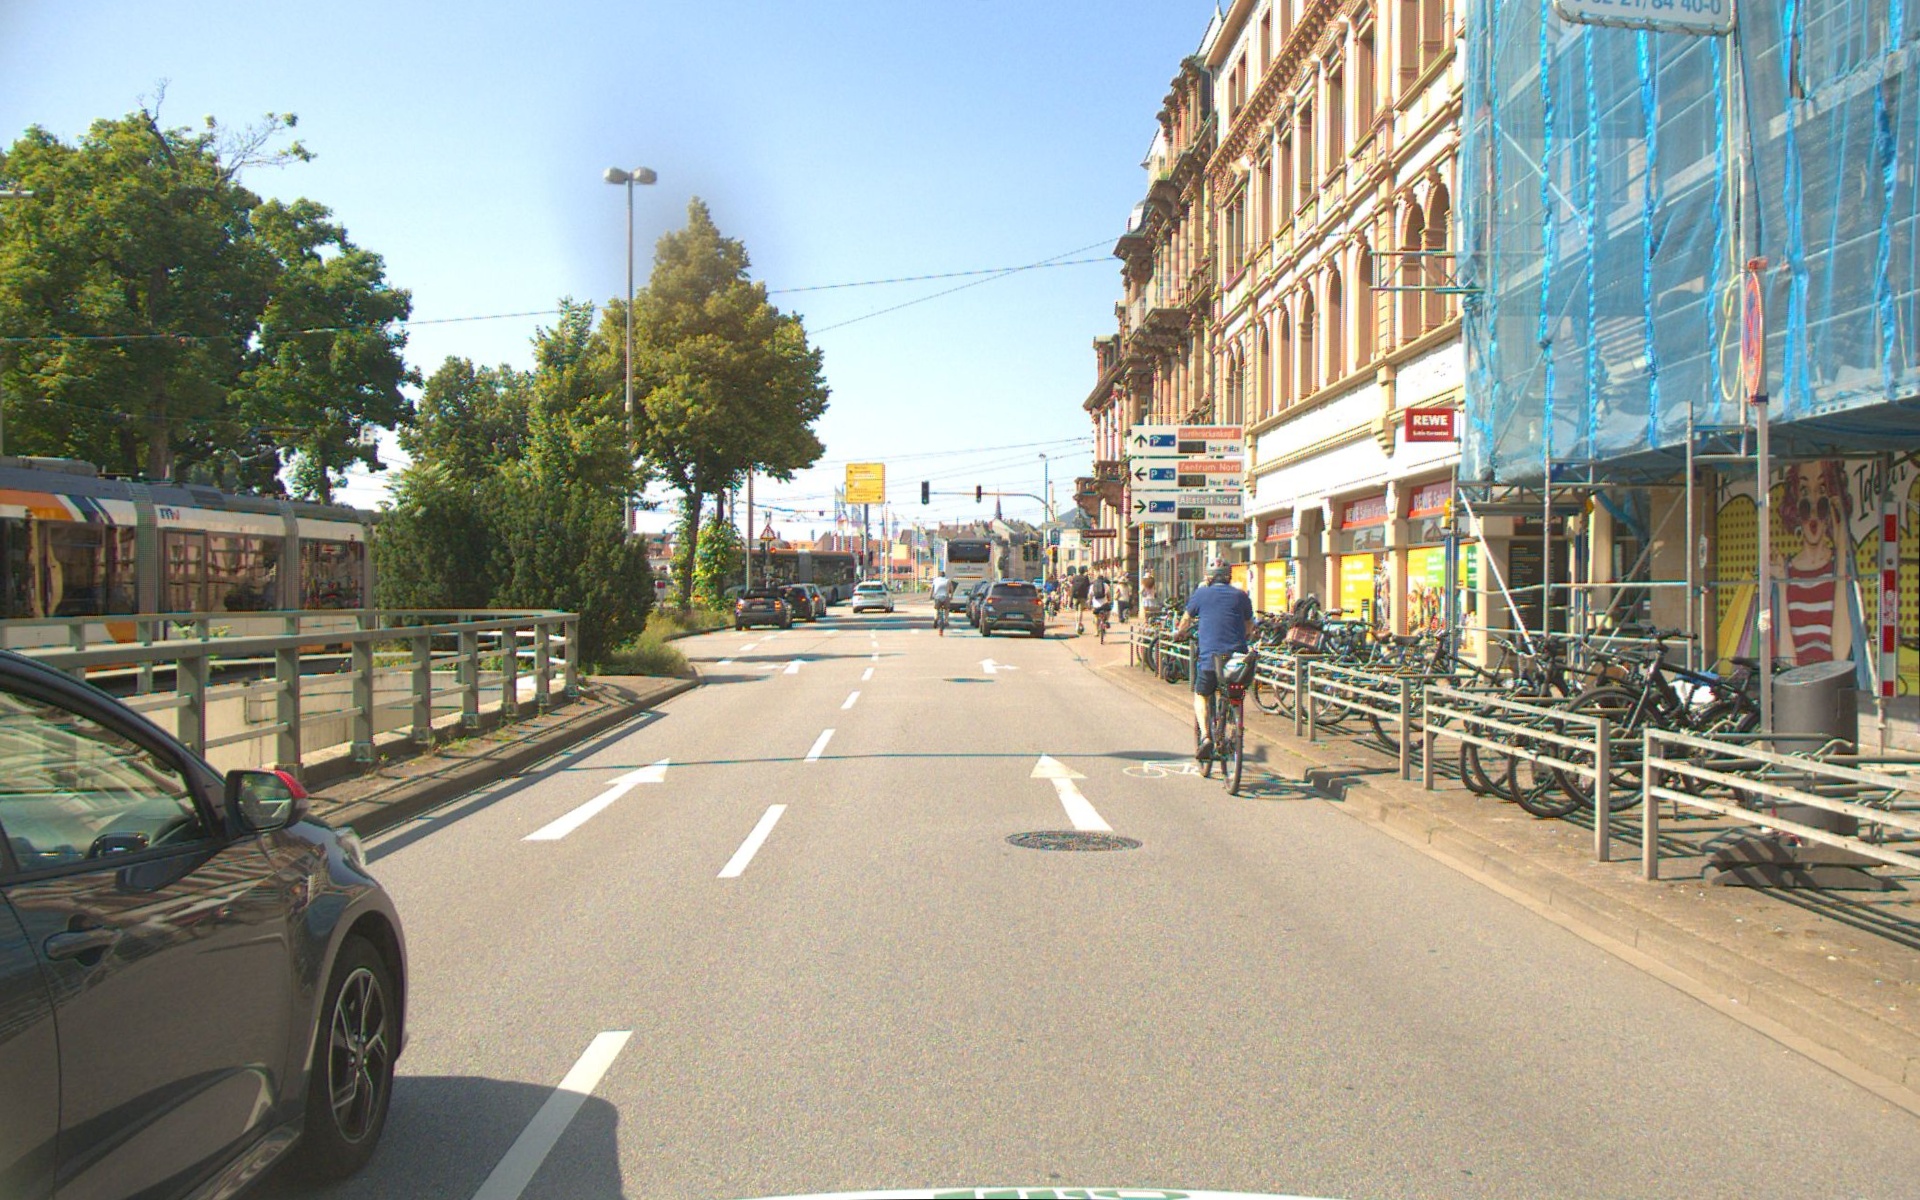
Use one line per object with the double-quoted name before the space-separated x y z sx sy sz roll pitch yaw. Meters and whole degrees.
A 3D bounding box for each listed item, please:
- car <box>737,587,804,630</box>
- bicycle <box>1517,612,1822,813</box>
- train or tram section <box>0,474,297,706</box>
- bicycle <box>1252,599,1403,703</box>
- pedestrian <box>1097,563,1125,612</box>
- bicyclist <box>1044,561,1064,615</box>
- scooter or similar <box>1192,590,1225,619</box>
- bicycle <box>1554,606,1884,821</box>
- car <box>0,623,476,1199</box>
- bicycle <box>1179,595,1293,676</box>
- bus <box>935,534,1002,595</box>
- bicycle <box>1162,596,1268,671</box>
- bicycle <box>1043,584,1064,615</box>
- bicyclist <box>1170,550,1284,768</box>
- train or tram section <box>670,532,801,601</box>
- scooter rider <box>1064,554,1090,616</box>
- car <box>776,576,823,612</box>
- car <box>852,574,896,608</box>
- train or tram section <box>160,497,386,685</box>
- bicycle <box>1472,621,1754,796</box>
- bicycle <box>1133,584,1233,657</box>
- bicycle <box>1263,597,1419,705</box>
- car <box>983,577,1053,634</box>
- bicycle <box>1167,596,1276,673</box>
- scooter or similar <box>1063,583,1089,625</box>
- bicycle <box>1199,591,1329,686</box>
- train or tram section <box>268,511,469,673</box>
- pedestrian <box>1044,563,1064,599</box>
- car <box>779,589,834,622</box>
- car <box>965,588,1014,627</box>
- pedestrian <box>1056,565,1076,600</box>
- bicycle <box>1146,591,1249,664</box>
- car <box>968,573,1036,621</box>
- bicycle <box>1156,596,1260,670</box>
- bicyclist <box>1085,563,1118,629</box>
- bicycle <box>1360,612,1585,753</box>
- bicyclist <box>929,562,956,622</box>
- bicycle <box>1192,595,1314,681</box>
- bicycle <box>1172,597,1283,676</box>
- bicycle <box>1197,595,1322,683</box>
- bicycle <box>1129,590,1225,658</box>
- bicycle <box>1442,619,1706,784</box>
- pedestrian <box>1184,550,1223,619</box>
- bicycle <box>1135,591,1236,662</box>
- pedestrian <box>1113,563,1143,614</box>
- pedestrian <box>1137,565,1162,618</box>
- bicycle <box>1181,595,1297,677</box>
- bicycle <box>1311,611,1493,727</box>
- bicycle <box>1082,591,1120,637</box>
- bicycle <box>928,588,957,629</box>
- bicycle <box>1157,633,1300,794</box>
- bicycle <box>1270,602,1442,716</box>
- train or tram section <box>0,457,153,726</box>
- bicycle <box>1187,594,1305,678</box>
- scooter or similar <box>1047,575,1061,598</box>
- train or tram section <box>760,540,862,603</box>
"car" -6.416 0.267 56.294 1.778 1.355 4.000 2 0 0
"bicycle" 4.460 0.694 10.463 1.659 1.199 0.608 1 0 -1
"train or tram section" -14.406 -0.167 29.667 2.560 3.643 6.102 2 0 -1
"bicycle" 4.392 0.603 19.828 1.659 1.199 0.608 1 0 -1
"pedestrian" 5.236 -0.422 57.452 0.845 1.668 0.875 -1 1 -2
"bicyclist" 3.521 -0.452 62.244 0.674 1.996 0.778 2 0 1
"scooter or similar" 6.180 0.112 41.188 0.677 0.661 0.565 -4 0 -2
"bicycle" 4.459 0.654 9.780 1.659 1.199 0.608 1 0 -1
"car" -2.317 0.840 3.077 1.741 1.501 3.998 -1 0 -2
"bicycle" 4.246 0.542 25.513 1.659 1.199 0.457 1 0 -1
"bus" 0.348 -1.717 83.199 2.909 2.825 8.637 2 0 -2
"bicycle" 4.180 0.541 27.171 1.659 1.199 0.460 1 0 -1
"bicycle" 3.505 -0.024 62.369 0.719 1.112 1.898 2 0 2
"bicyclist" 2.095 0.451 13.068 0.674 1.644 0.918 2 0 -2
"train or tram section" -12.858 -1.849 95.927 2.765 3.643 10.029 2 0 23
"scooter rider" 3.398 -0.436 48.127 0.674 1.759 0.778 2 0 1
"car" -6.306 -0.227 65.430 1.422 1.323 4.000 2 0 0
"car" -4.083 -0.439 79.001 1.820 1.533 4.000 2 0 0
"train or tram section" -14.500 -0.178 35.376 2.560 3.643 5.356 2 0 -1
"bicycle" 4.408 0.721 11.226 1.659 1.116 0.608 1 0 -1
"bicycle" 3.958 0.359 29.451 1.659 1.199 0.608 -2 1 -1
"bicycle" 4.394 0.579 19.132 1.659 1.199 0.608 1 0 -1
"car" 1.629 0.126 47.497 1.835 1.518 4.000 2 1 0
"bicycle" 4.201 0.550 26.620 1.659 1.199 0.459 1 0 -1
"scooter or similar" 3.365 0.117 48.088 0.674 1.188 1.464 2 0 1
"bicycle" 4.175 0.519 22.768 1.659 1.262 0.608 1 0 -1
"train or tram section" -14.614 -0.190 41.487 2.560 3.643 6.896 2 0 -1
"pedestrian" 4.488 -0.893 79.040 0.845 1.669 0.875 2 0 -2
"car" -6.730 0.220 72.698 1.995 1.355 4.000 2 0 0
"car" 1.224 0.314 69.265 1.953 1.519 4.000 2 0 0
"pedestrian" 5.184 -0.844 80.930 0.845 1.668 0.875 -1 1 -2
"bicycle" 4.044 0.463 28.203 1.659 1.199 0.469 1 0 -1
"car" 1.387 -0.106 56.319 1.954 1.519 3.997 2 0 -4
"bicycle" 4.158 0.543 27.737 1.659 1.199 0.469 1 0 -1
"bicyclist" 3.566 -0.102 41.723 0.674 1.604 1.049 2 0 -1
"bicycle" 4.319 0.685 14.005 1.703 1.128 0.608 1 0 -1
"bicyclist" -0.488 -0.221 45.867 0.674 1.604 1.049 2 0 -2
"bicycle" 4.237 0.541 23.935 1.659 1.199 0.490 1 0 -1
"bicycle" 4.203 0.564 26.053 1.659 1.199 0.514 1 0 -1
"bicycle" 4.220 0.549 23.384 1.659 1.199 0.497 1 0 -1
"bicycle" 3.934 0.426 30.084 1.659 1.199 0.608 -1 1 -1
"bicycle" 4.388 0.716 11.888 1.659 1.116 0.608 1 0 -1
"pedestrian" 6.149 -0.382 41.826 0.740 1.684 0.837 -3 -1 -2
"bicycle" 3.920 0.453 28.797 1.659 1.199 0.608 -1 1 -1
"pedestrian" 5.662 -0.396 55.776 0.845 1.668 0.875 -1 1 -2
"pedestrian" 5.913 -0.279 51.754 0.641 1.649 0.815 -1 1 -2
"bicycle" 4.196 0.532 24.956 1.659 1.199 0.463 1 0 -1
"bicycle" 4.441 0.685 16.685 1.659 1.106 0.608 1 0 -1
"bicycle" 3.551 0.345 41.706 0.719 1.112 1.897 2 0 -1
"bicycle" -0.502 0.229 45.910 0.719 1.112 1.897 2 0 -2
"bicycle" 2.078 0.851 13.050 0.719 1.112 1.910 2 0 -2
"bicycle" 4.330 0.638 18.159 1.735 1.199 0.608 1 0 -1
"train or tram section" -14.298 -0.155 23.587 2.560 3.643 6.102 2 0 -1
"bicycle" 4.222 0.526 24.447 1.659 1.199 0.451 1 0 -1
"scooter or similar" 4.449 -0.628 78.428 0.588 1.066 0.799 2 0 -3
"train or tram section" -9.288 -1.742 104.329 2.765 3.643 8.223 2 0 23
